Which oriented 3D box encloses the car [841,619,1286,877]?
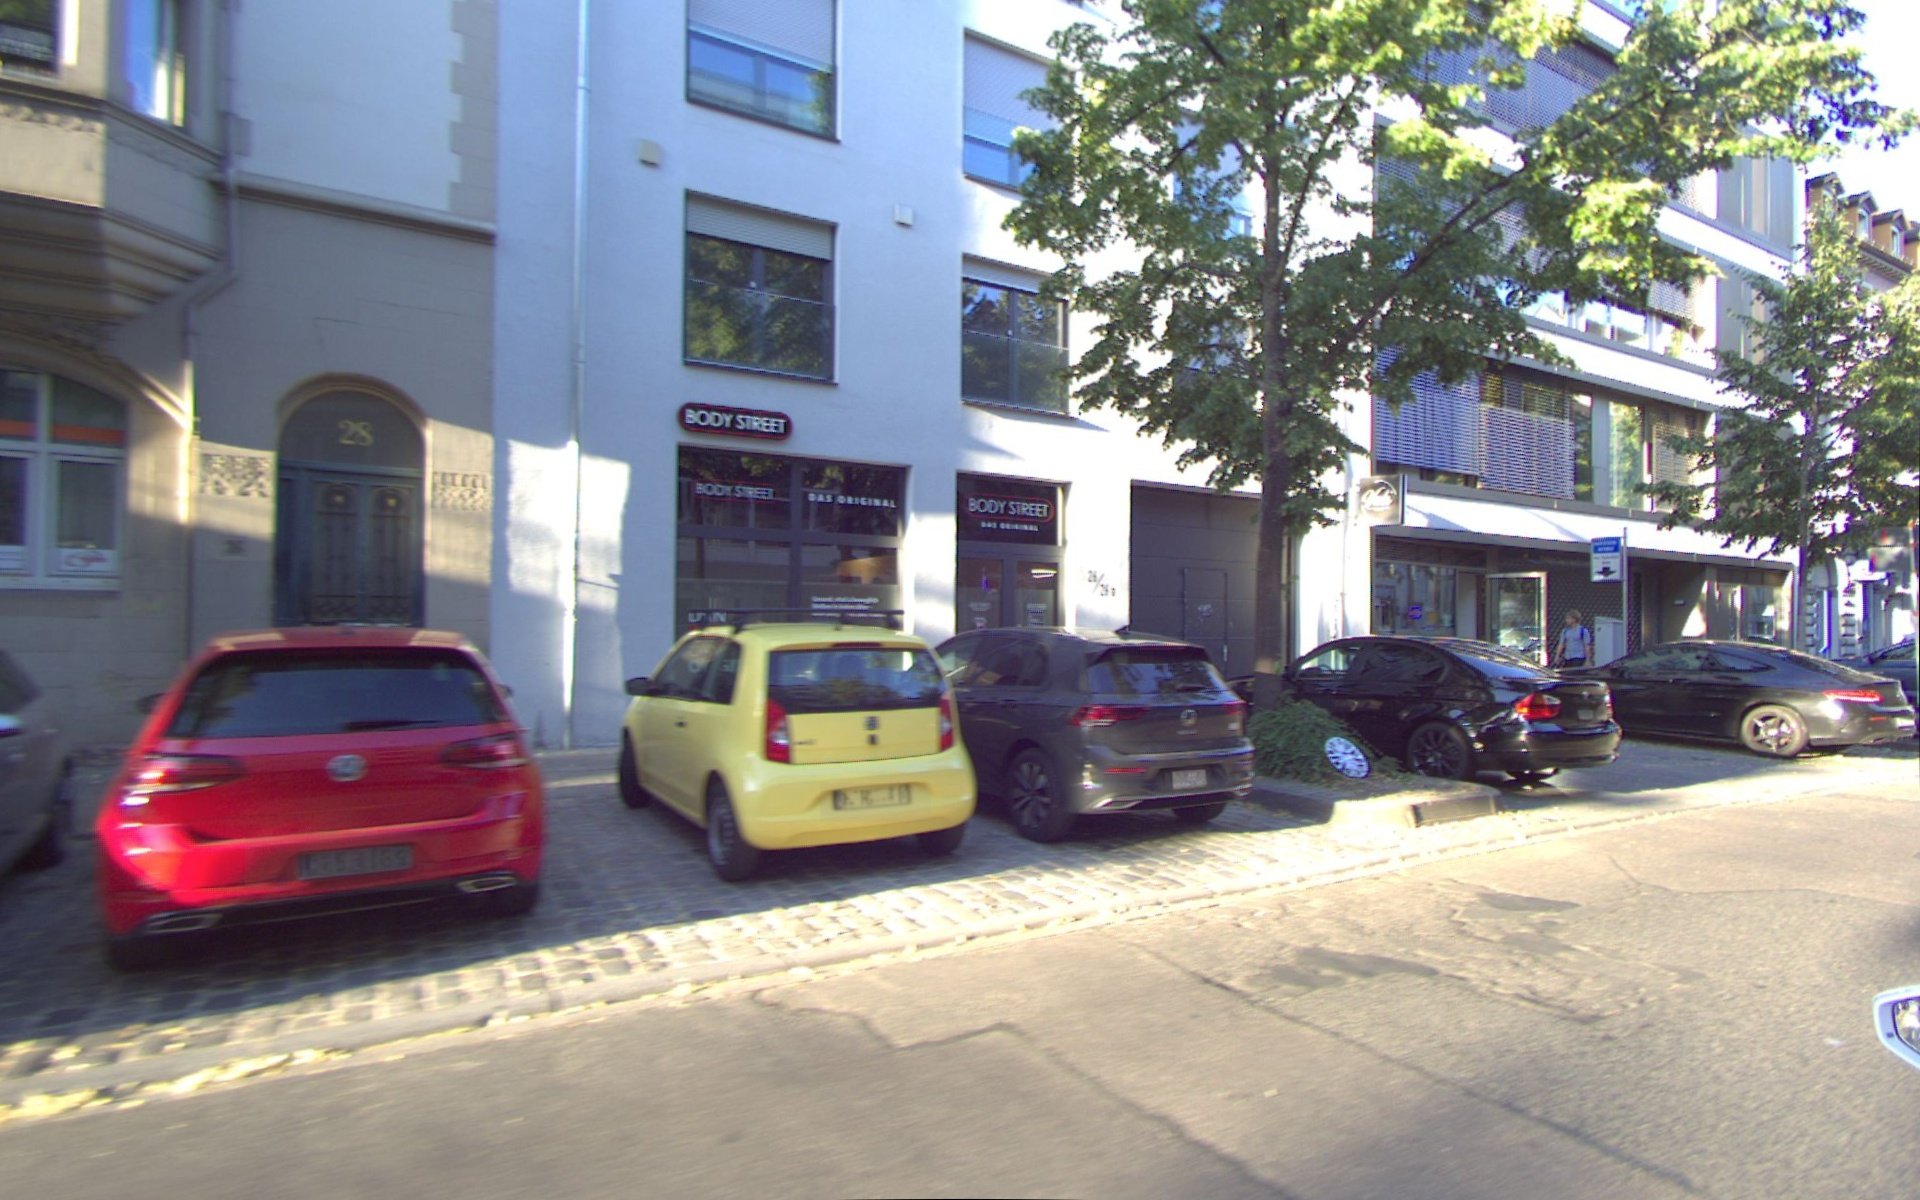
[{"bbox_3d":[0.609,0.977,8.411,1.725,1.588,3.845,1,-1,-32],"label":"car"}]

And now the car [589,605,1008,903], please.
[{"bbox_3d":[-1.440,0.854,7.462,1.725,1.588,3.845,1,-1,-32],"label":"car"}]

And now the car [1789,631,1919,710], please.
[{"bbox_3d":[19.314,1.388,19.624,1.726,1.504,4.520,1,-1,-33],"label":"car"}]

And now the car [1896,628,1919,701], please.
[{"bbox_3d":[23.242,1.474,21.492,1.868,1.617,4.384,1,0,-31],"label":"car"}]

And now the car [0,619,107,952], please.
[{"bbox_3d":[-5.314,0.831,4.524,1.726,1.405,4.017,1,0,-33],"label":"car"}]

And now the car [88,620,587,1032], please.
[{"bbox_3d":[-3.455,0.872,5.775,1.725,1.476,3.845,1,-1,-32],"label":"car"}]

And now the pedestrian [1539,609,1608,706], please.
[{"bbox_3d":[11.634,1.074,19.047,0.923,1.773,0.716,1,1,-30],"label":"pedestrian"}]

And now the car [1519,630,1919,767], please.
[{"bbox_3d":[10.259,1.204,13.810,1.723,1.504,4.255,1,-1,-29],"label":"car"}]

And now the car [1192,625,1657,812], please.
[{"bbox_3d":[4.613,1.046,10.647,1.725,1.504,4.251,1,-1,-32],"label":"car"}]
